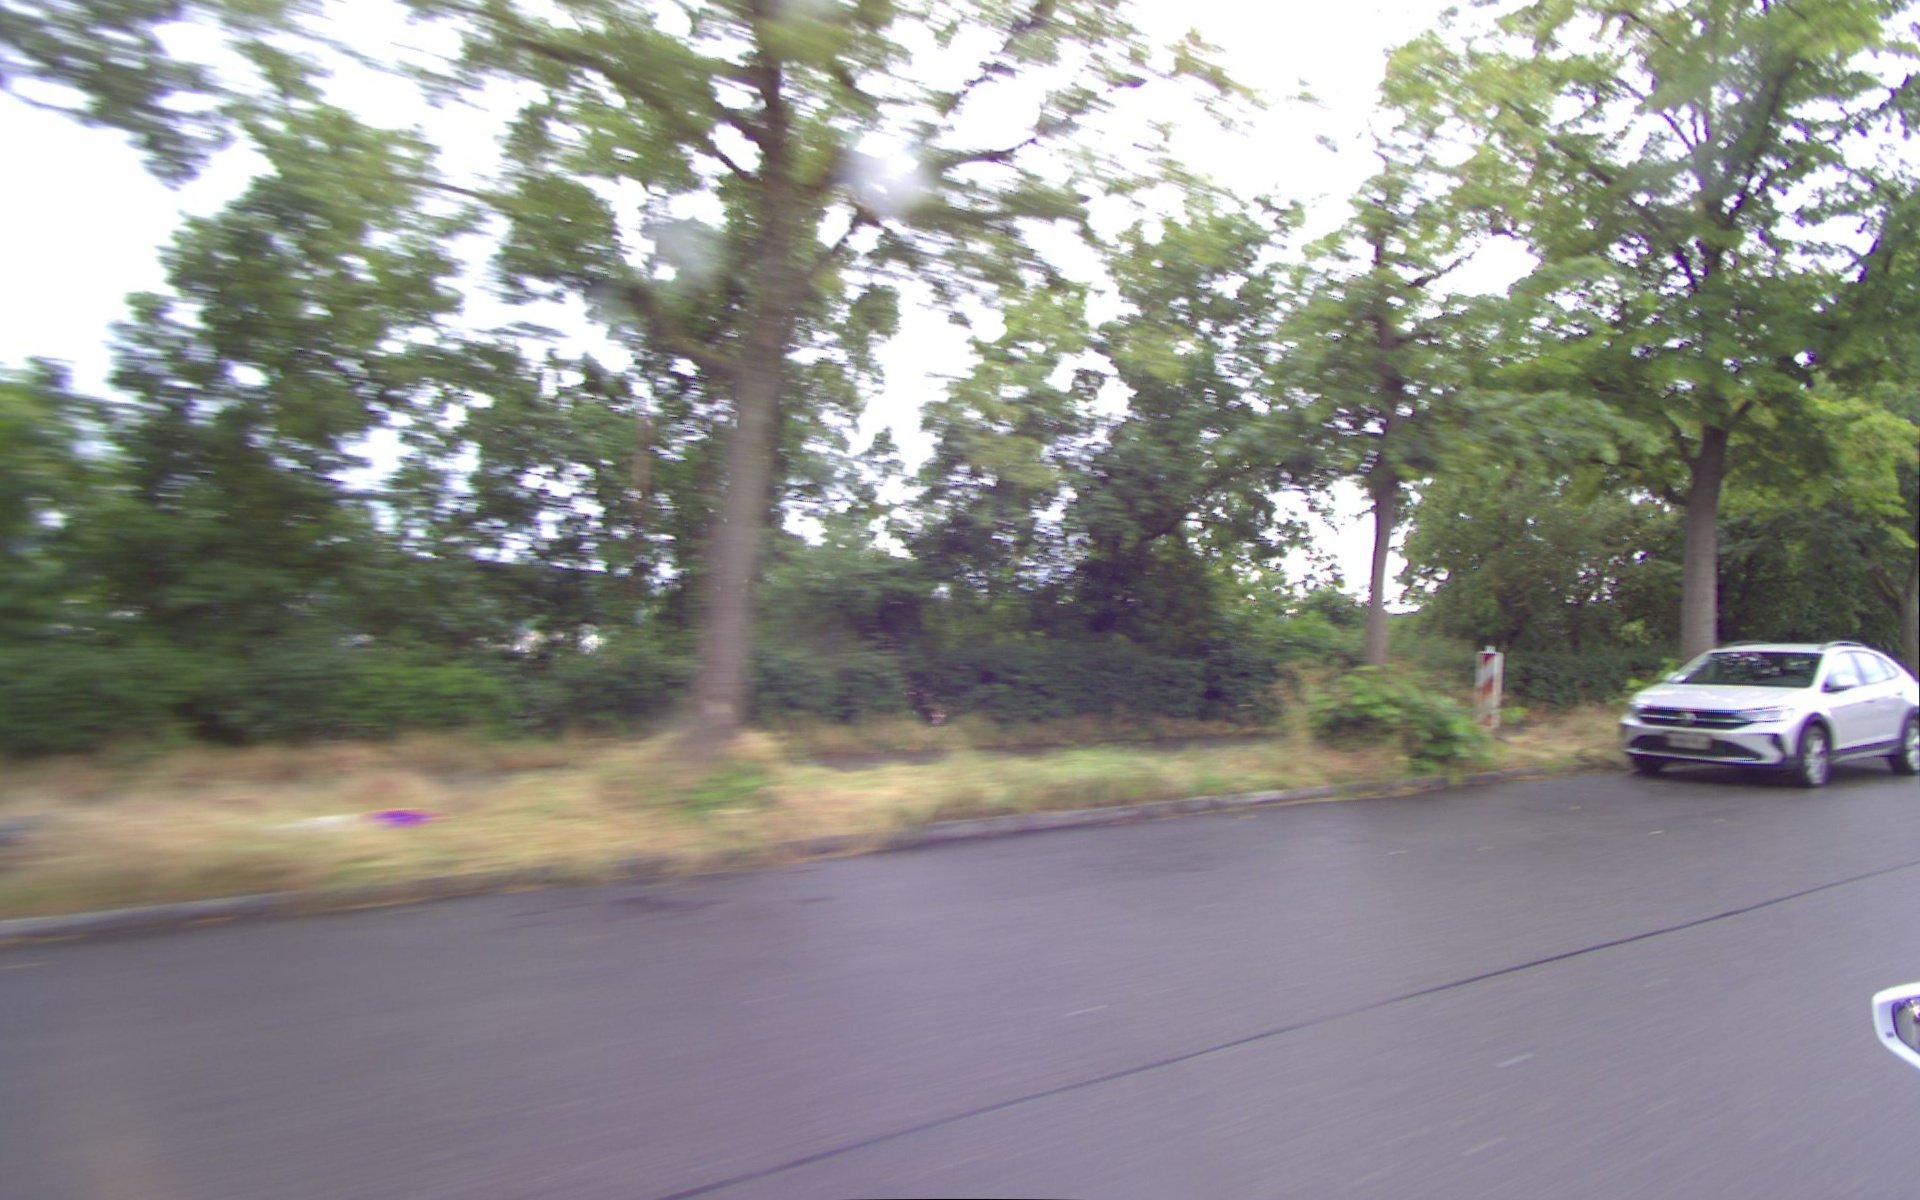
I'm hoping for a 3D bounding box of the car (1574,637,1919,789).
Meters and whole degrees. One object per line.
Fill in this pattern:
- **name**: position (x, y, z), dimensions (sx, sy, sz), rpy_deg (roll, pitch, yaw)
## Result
- **car**: position (9.129, 1.214, 11.520), dimensions (4.203, 1.456, 1.682), rpy_deg (3, -2, -28)
